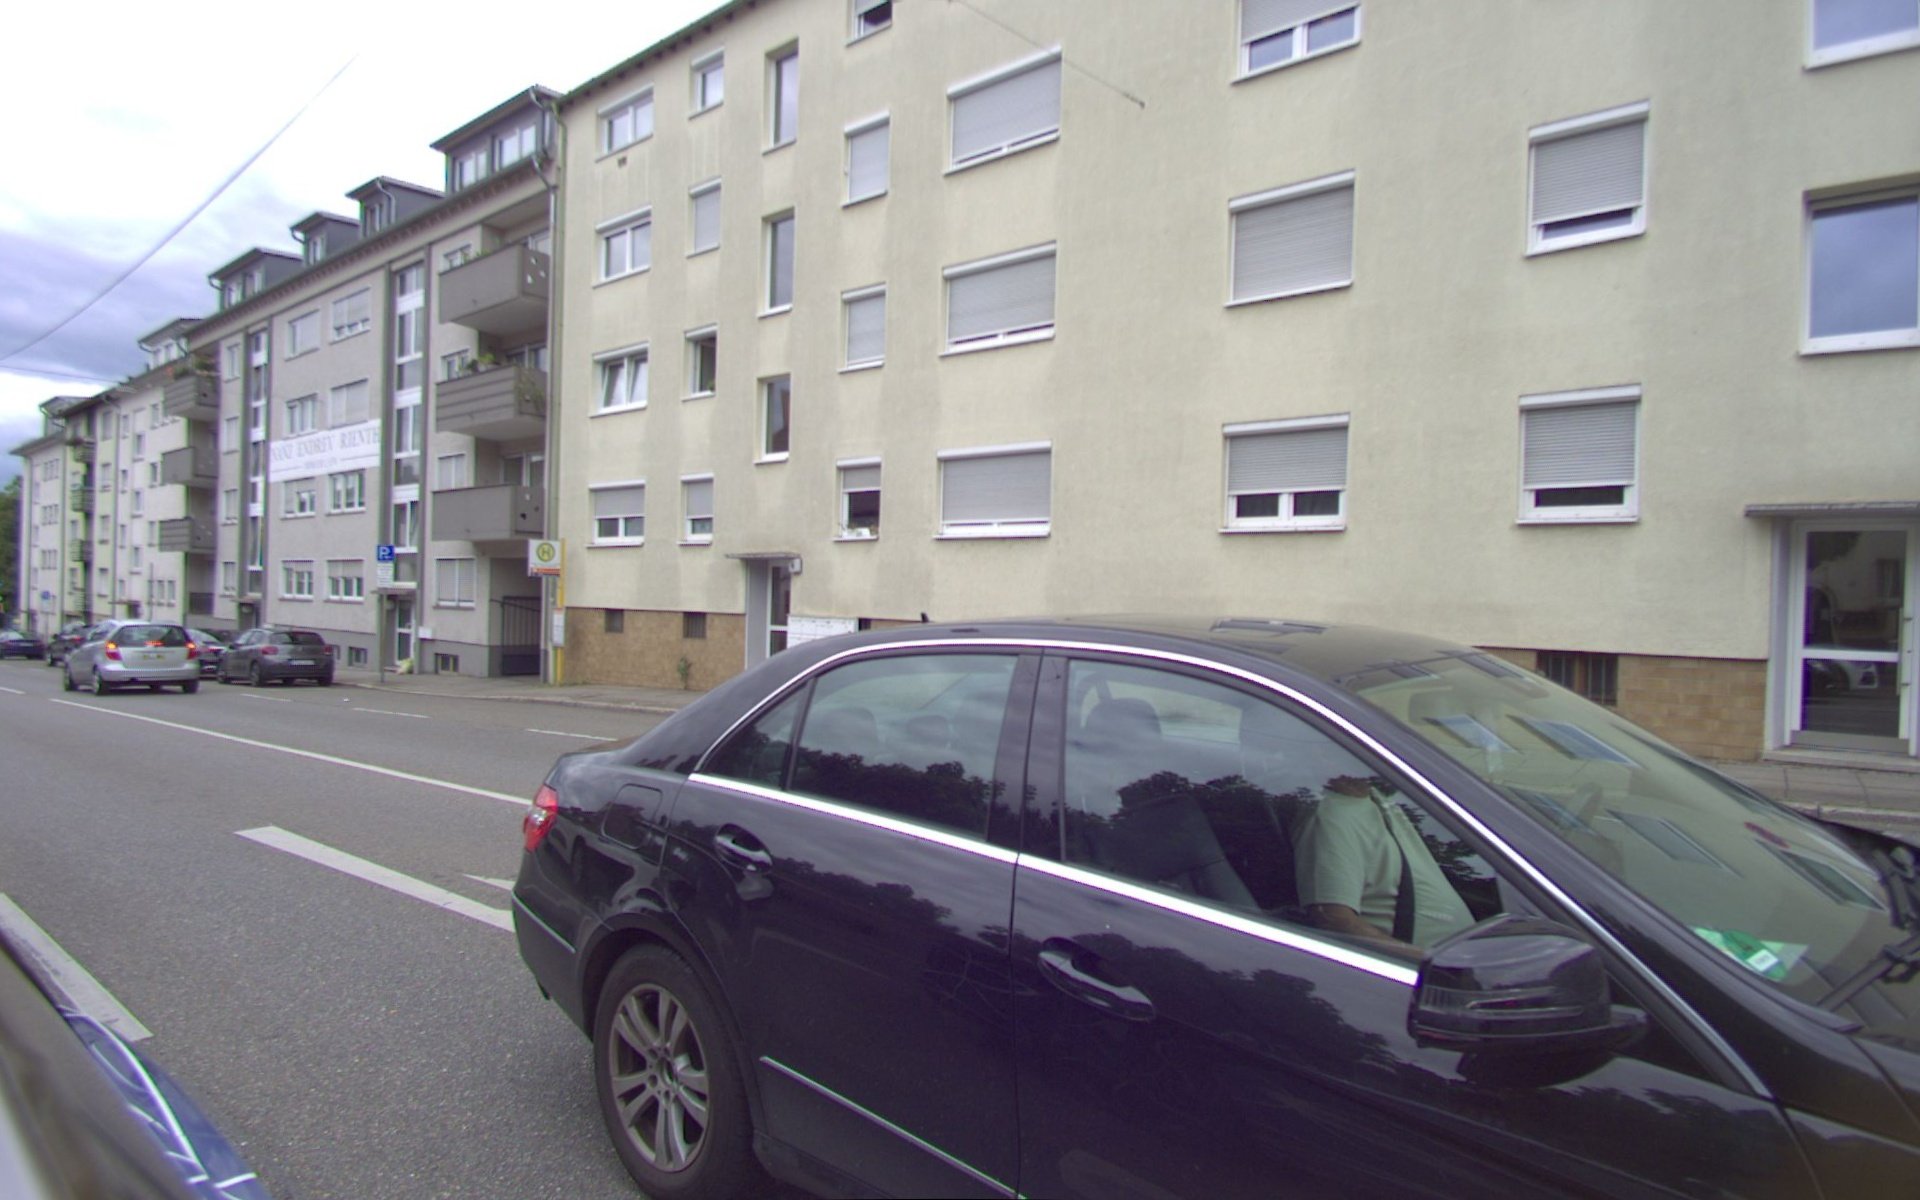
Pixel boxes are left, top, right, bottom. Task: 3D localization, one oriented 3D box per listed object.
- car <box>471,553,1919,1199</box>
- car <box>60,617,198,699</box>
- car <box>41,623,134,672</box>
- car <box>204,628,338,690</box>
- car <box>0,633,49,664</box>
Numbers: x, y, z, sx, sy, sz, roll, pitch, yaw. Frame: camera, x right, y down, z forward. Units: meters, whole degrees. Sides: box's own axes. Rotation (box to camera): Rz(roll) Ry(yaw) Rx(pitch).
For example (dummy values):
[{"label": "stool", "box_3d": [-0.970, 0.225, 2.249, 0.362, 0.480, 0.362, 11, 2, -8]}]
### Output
[{"label": "car", "box_3d": [0.778, 0.701, 2.216, 4.443, 1.465, 1.729, -1, -1, 41]}, {"label": "car", "box_3d": [-18.339, 1.224, 22.282, 3.998, 1.630, 1.691, -1, -3, 41]}, {"label": "car", "box_3d": [-33.495, 1.793, 38.827, 4.302, 1.767, 1.852, -1, -4, 39]}, {"label": "car", "box_3d": [-17.811, 1.497, 26.105, 3.797, 1.447, 1.751, -1, -4, 39]}, {"label": "car", "box_3d": [-46.417, 2.363, 49.716, 4.305, 1.391, 1.851, -1, -4, 41]}]
